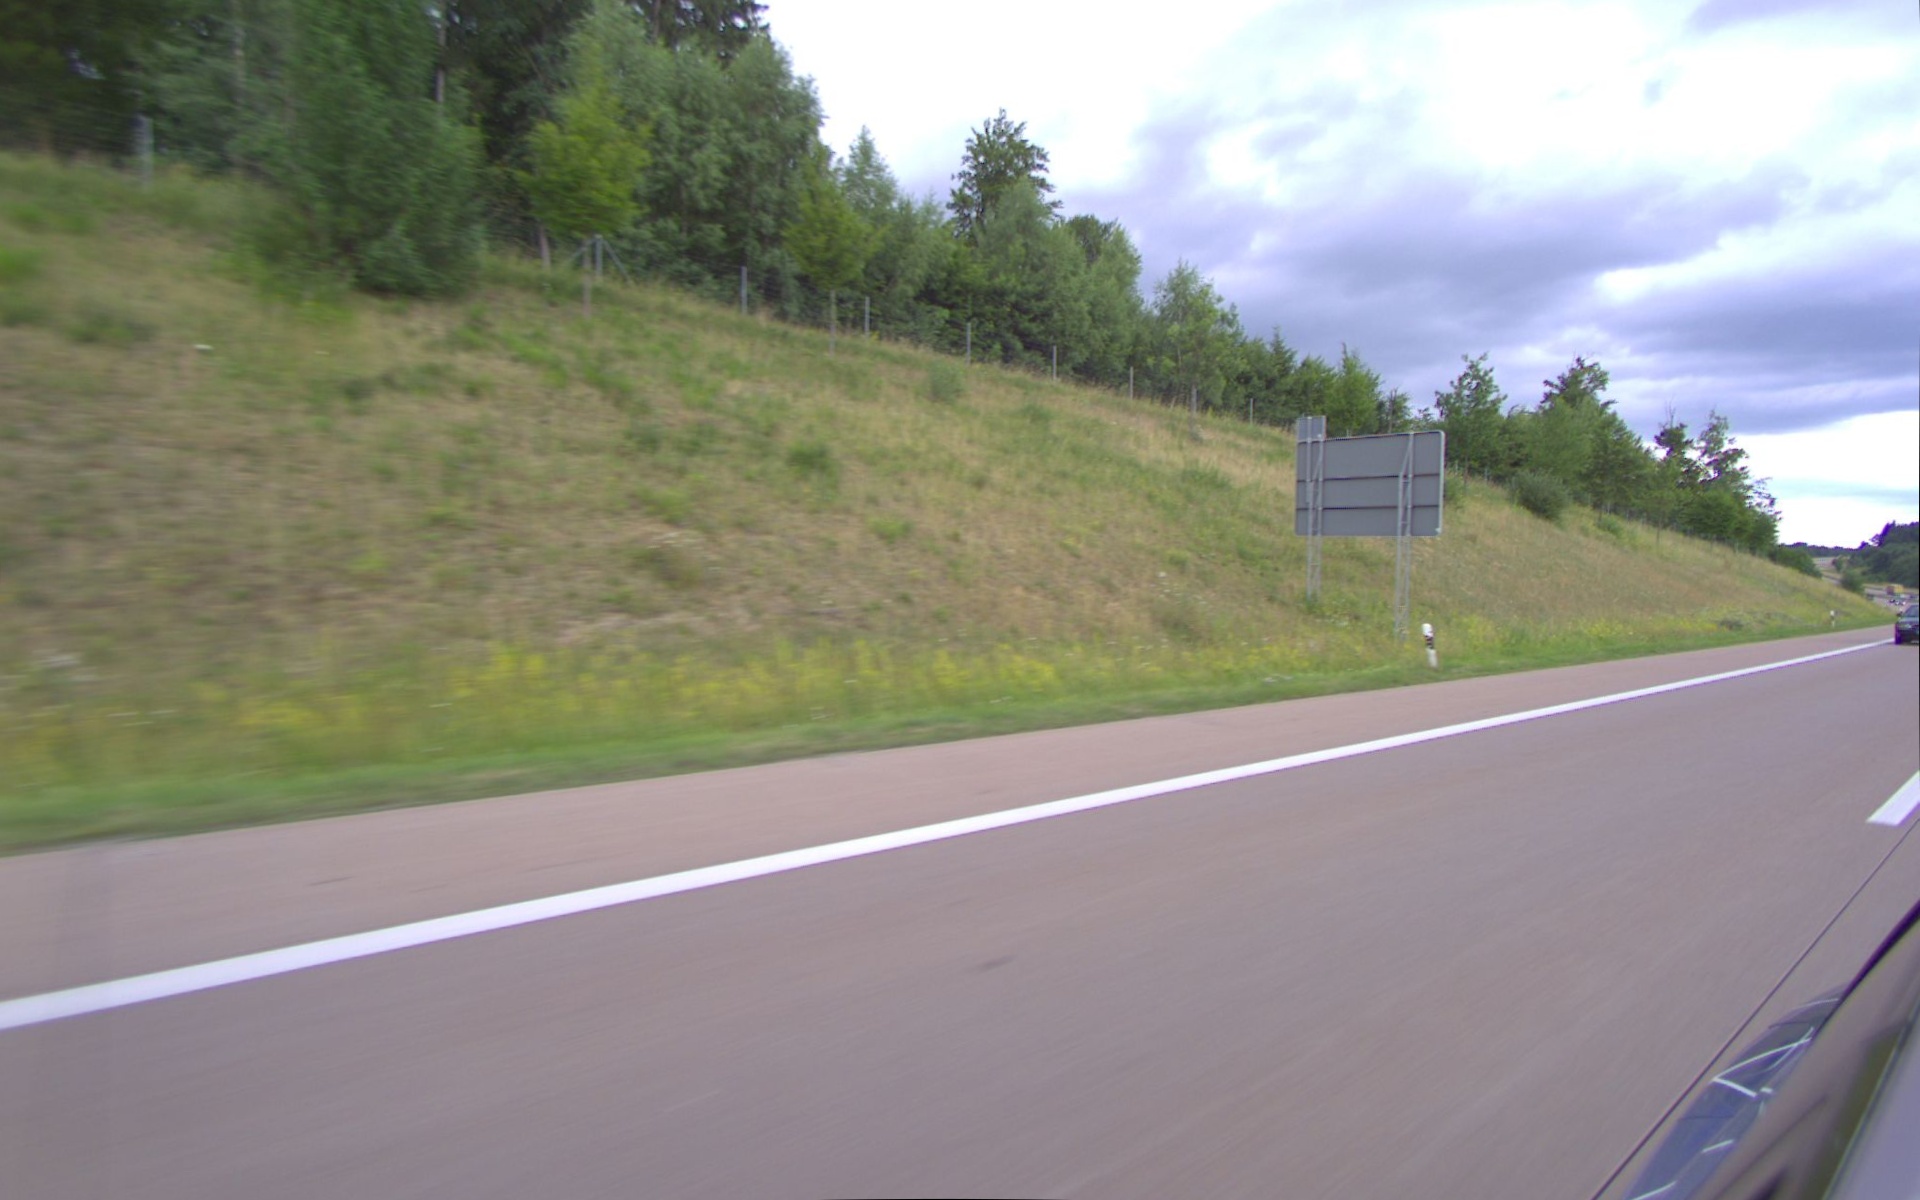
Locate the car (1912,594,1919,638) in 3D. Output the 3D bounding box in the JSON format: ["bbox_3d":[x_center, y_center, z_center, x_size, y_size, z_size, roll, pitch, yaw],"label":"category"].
[{"bbox_3d":[33.649,0.512,34.223,4.159,1.420,1.675,-2,2,-41],"label":"car"}]
